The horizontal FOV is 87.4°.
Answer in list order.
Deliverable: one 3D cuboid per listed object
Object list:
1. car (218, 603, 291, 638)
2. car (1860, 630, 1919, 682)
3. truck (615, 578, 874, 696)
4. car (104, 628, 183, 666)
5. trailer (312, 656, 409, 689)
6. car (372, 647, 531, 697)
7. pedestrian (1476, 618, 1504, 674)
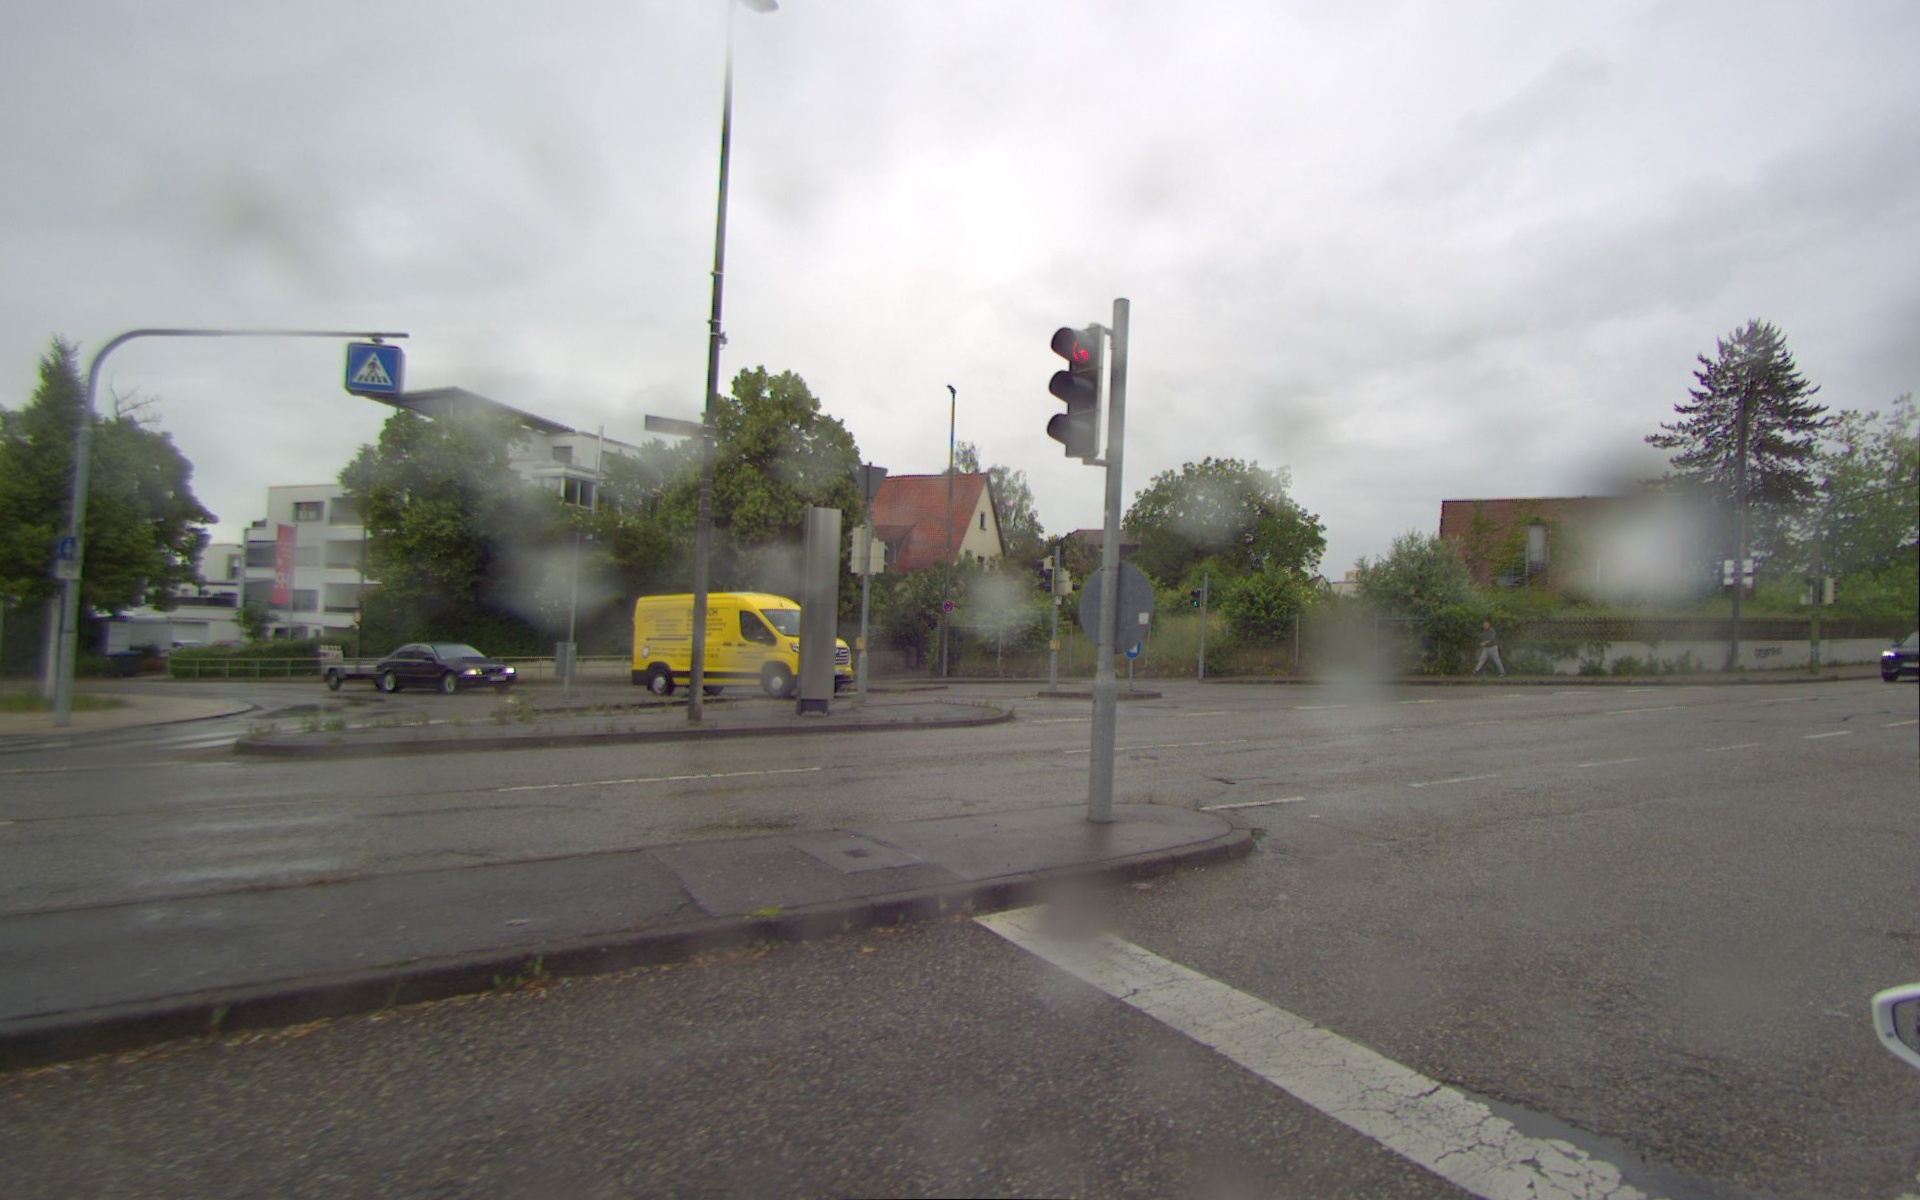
[{"bbox_3d":[-44.661,1.285,63.605,3.921,2.040,1.791,2,0,20],"label":"car"},{"bbox_3d":[29.360,1.692,30.417,4.246,1.497,1.941,2,-4,-30],"label":"car"},{"bbox_3d":[-5.226,0.933,24.161,6.062,2.571,2.226,-2,-3,28],"label":"truck"},{"bbox_3d":[-48.049,2.733,59.103,3.921,2.040,1.791,2,0,20],"label":"car"},{"bbox_3d":[-18.537,2.226,31.075,2.244,0.991,1.607,-1,-4,27],"label":"trailer"},{"bbox_3d":[-14.519,2.020,28.646,4.276,1.335,1.863,-1,-4,27],"label":"car"},{"bbox_3d":[15.914,1.390,30.167,0.490,1.663,0.553,0,-2,0],"label":"pedestrian"}]
